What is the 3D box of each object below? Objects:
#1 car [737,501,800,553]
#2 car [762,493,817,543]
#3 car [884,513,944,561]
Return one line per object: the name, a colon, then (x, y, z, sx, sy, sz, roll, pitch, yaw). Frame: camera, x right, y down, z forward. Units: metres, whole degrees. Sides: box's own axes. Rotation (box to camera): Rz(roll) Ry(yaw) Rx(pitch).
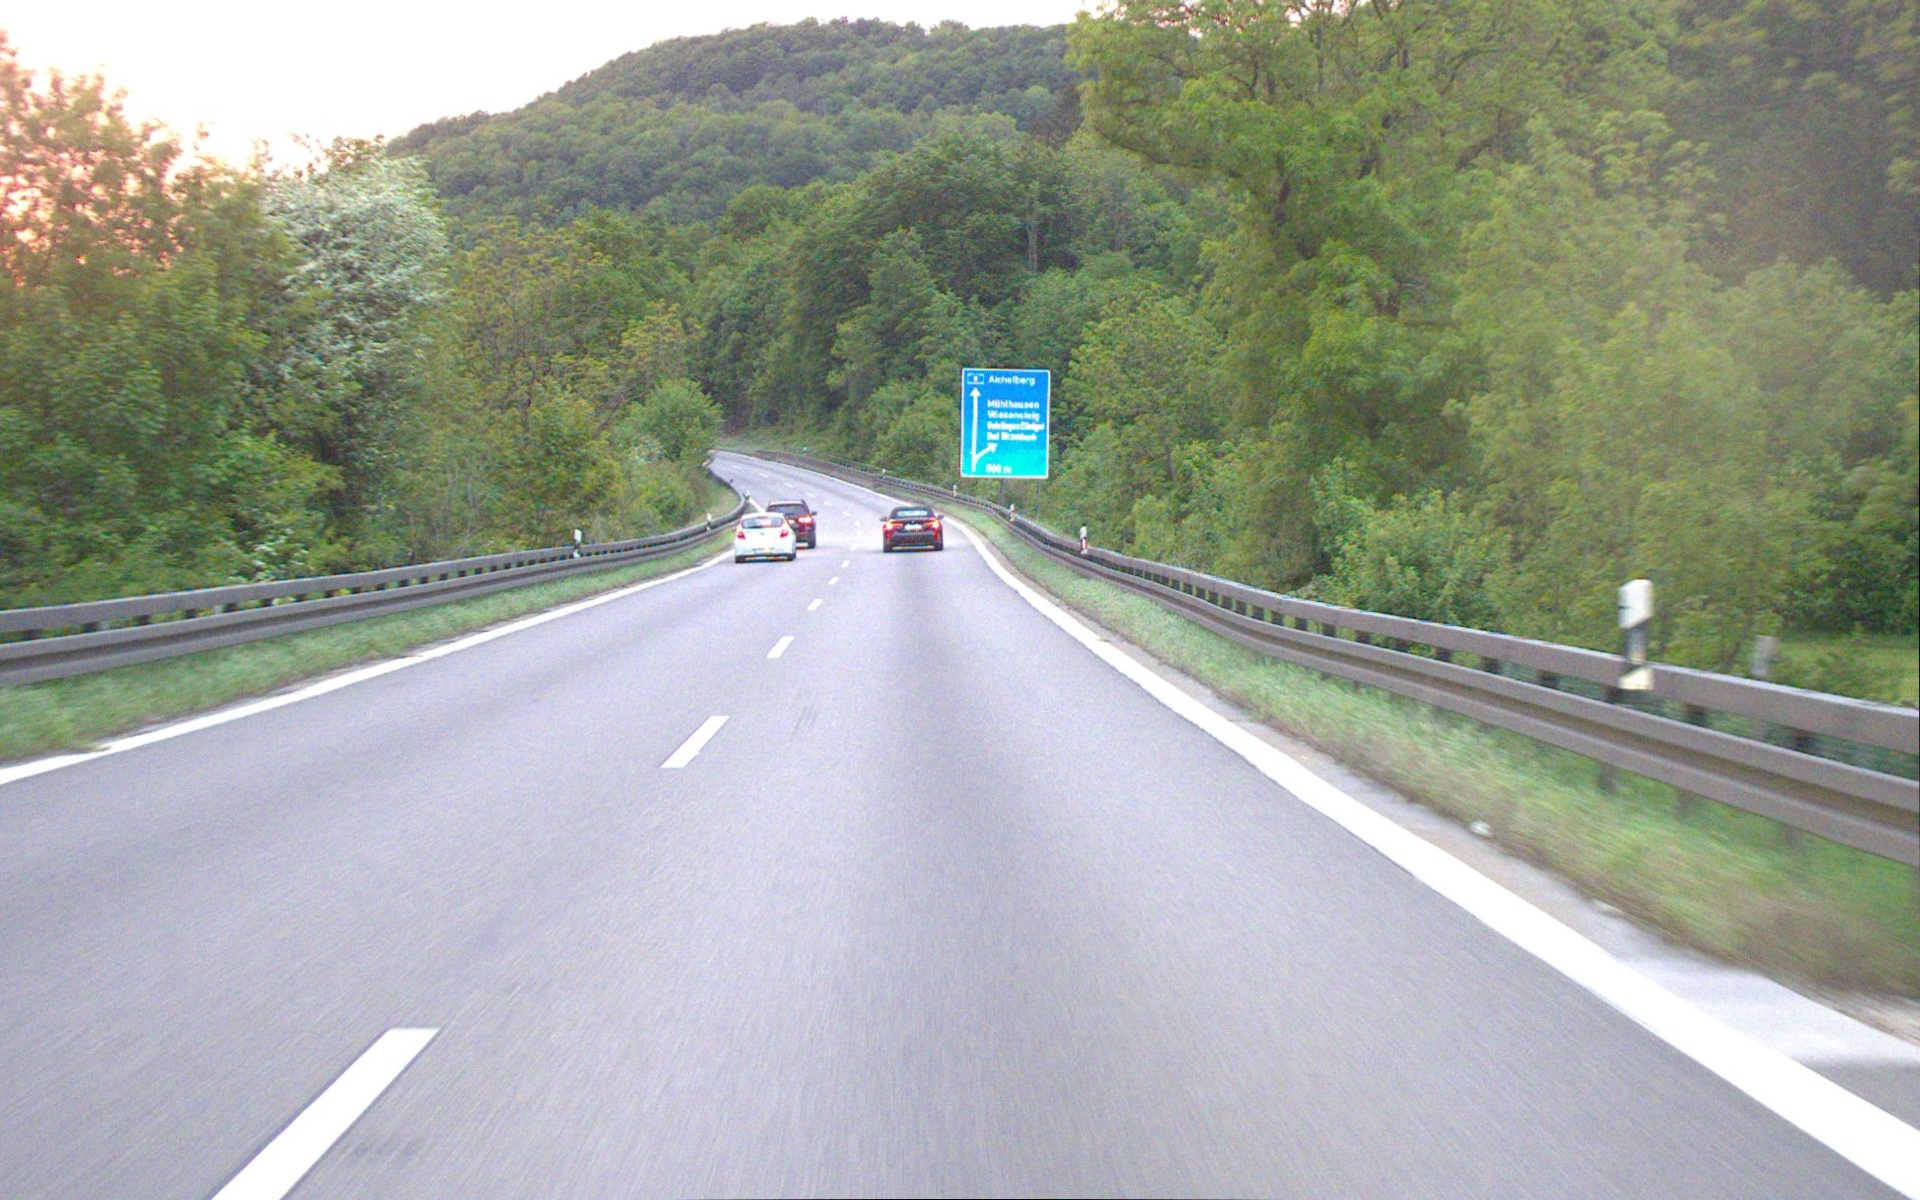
car: (-5.740, -2.201, 103.215, 1.718, 1.496, 4.001, 0, 2, -1)
car: (-5.753, -2.787, 116.264, 1.718, 1.629, 4.001, 0, 2, -1)
car: (-1.471, -2.016, 109.023, 1.878, 1.461, 4.001, 0, 2, -1)
